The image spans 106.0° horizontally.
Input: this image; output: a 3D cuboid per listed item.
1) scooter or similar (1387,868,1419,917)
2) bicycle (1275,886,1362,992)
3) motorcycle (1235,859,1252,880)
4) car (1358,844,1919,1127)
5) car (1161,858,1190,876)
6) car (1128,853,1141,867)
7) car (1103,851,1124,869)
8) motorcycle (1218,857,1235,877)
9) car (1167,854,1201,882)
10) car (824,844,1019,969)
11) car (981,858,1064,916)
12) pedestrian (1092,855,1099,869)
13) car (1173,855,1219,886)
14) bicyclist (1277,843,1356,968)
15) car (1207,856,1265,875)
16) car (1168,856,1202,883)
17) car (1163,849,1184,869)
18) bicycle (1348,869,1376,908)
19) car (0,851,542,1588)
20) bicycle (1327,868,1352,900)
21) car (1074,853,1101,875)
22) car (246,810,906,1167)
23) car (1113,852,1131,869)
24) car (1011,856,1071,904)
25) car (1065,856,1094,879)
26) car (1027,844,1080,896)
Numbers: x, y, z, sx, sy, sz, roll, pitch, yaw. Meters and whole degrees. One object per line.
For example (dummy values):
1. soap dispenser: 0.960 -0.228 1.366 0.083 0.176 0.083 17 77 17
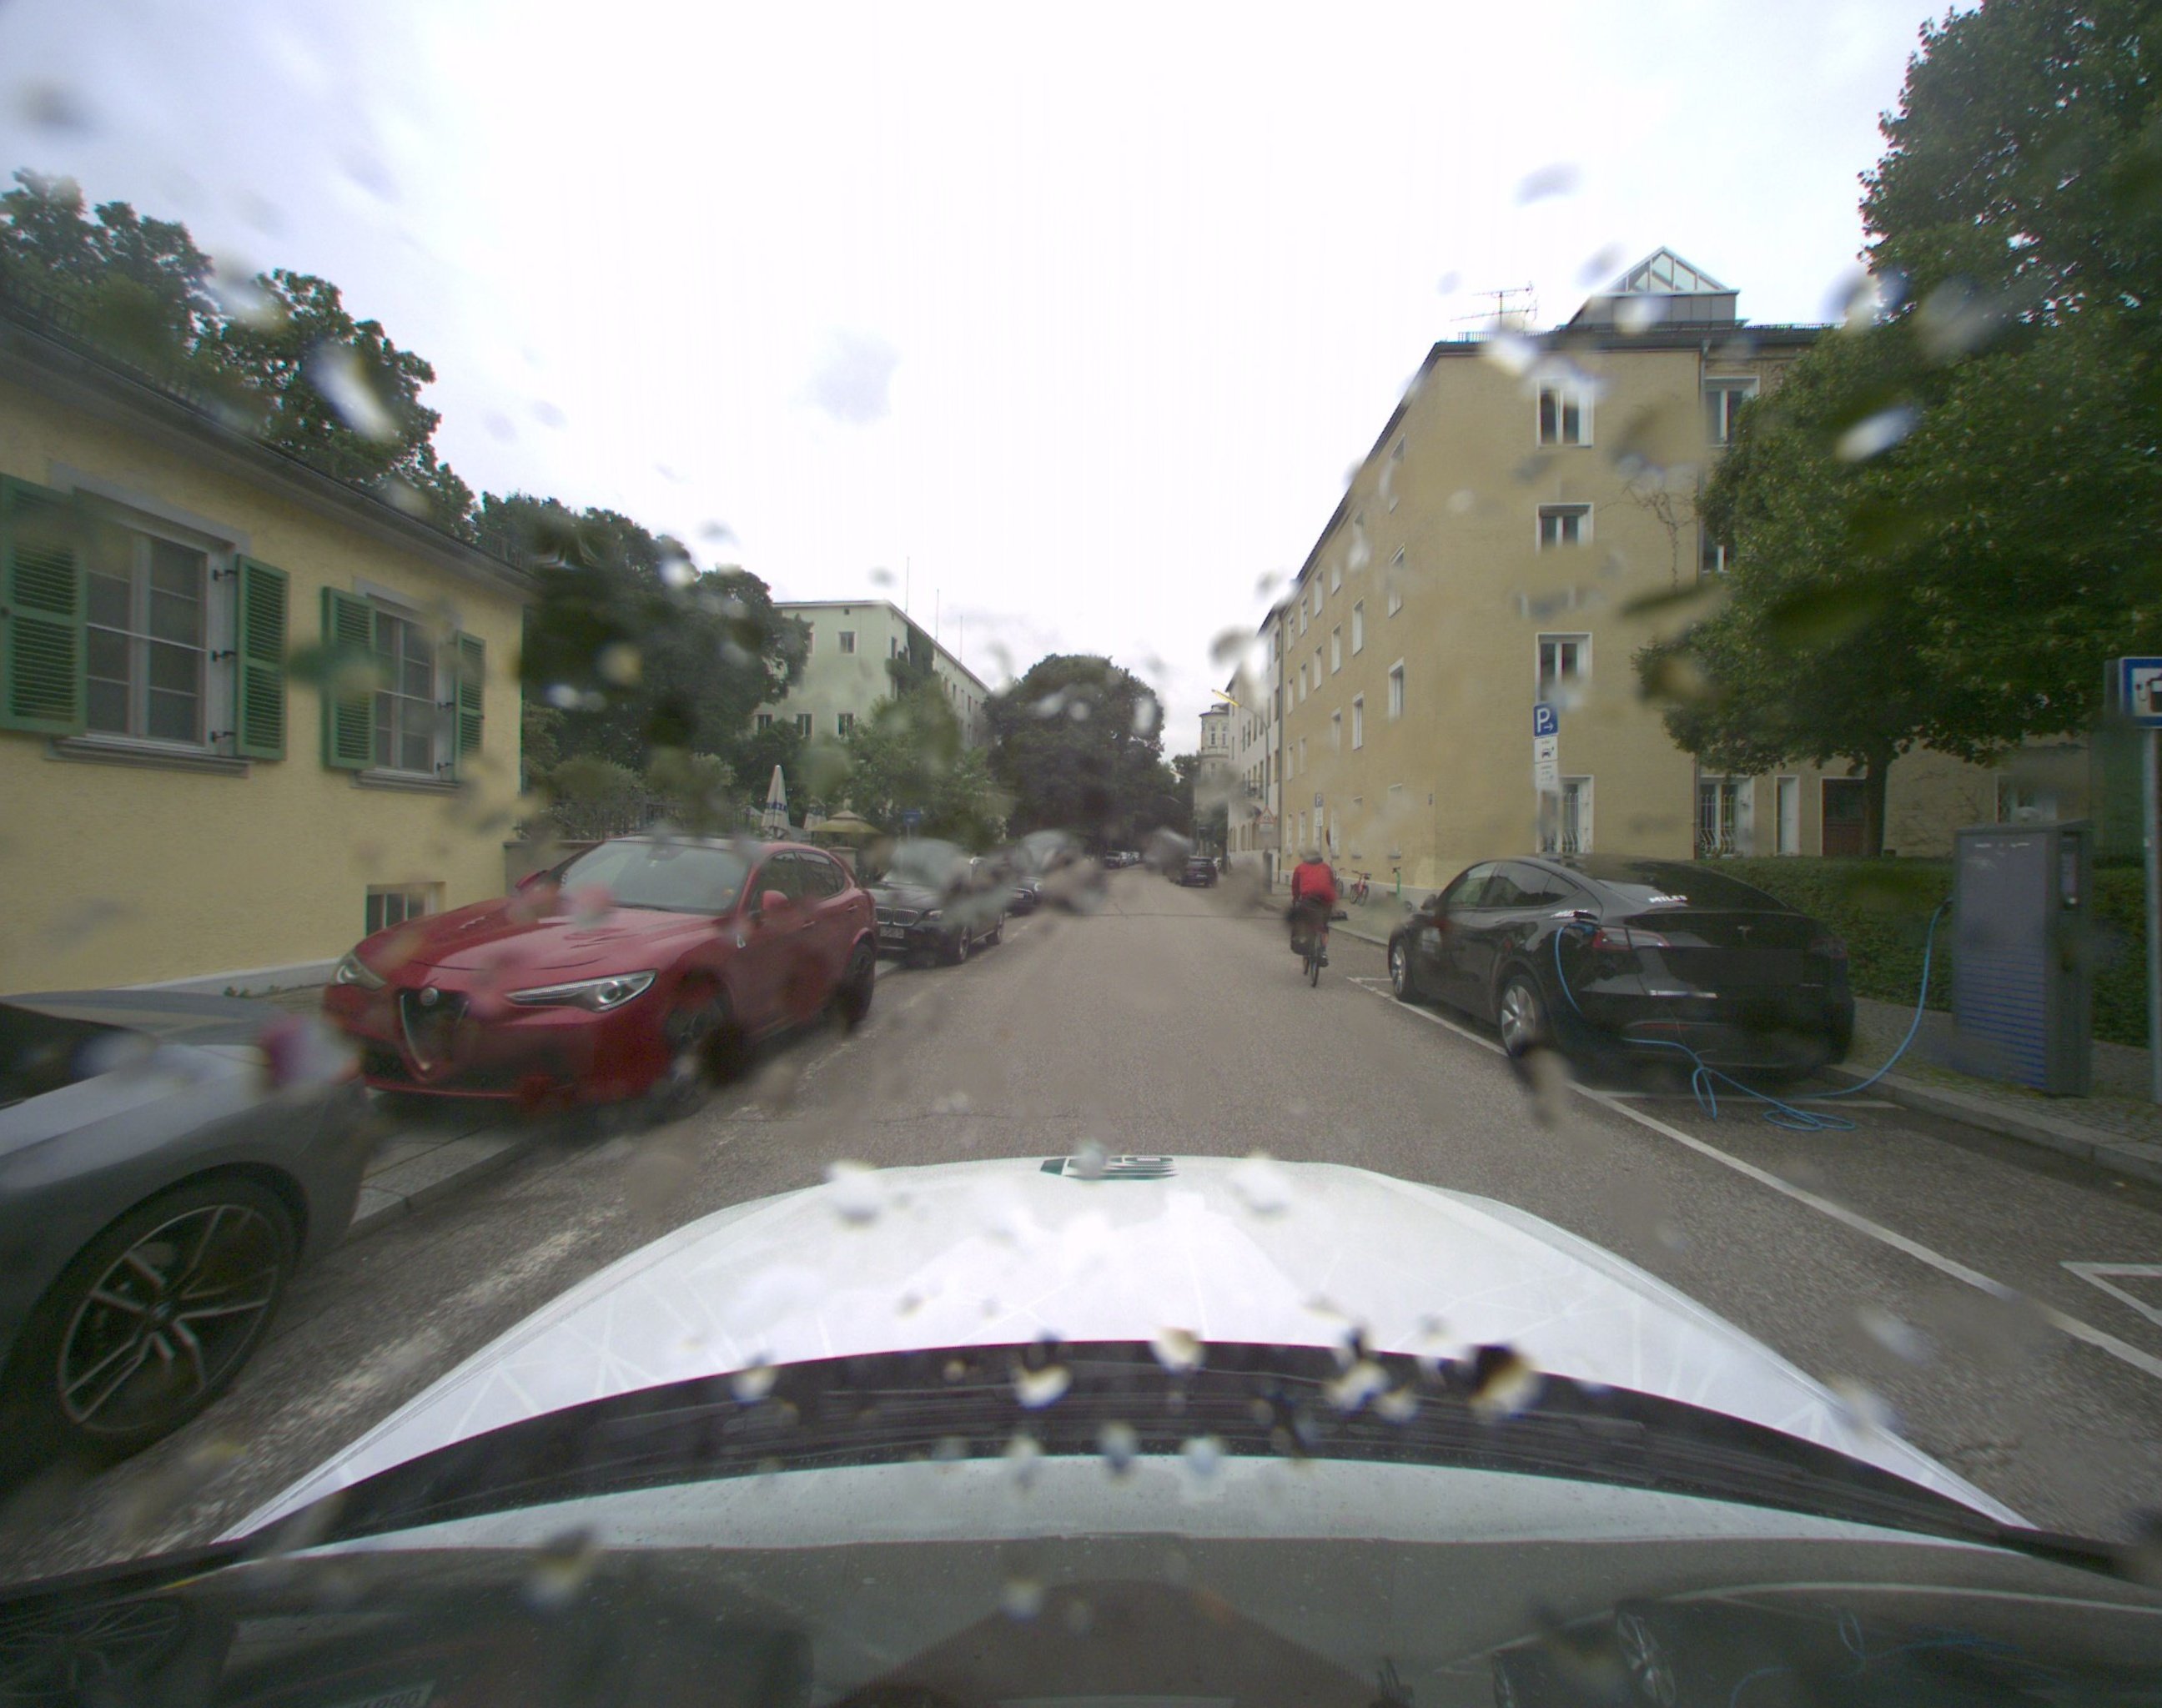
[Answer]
1. scooter or similar: 8.512 0.995 21.560 0.340 1.255 1.310 -1 -1 3
2. bicycle: 2.984 1.020 10.435 0.669 1.141 2.014 2 0 5
3. motorcycle: 10.306 0.980 51.578 0.729 1.239 2.009 2 0 3
4. car: 4.237 0.799 7.501 1.984 1.631 5.106 2 0 5
5. car: 7.433 0.995 64.310 1.991 1.319 4.599 -2 0 4
6. car: 9.080 1.011 138.299 1.992 2.186 4.703 2 0 5
7. car: 3.817 0.720 93.798 2.238 1.956 5.458 2 0 3
8. motorcycle: 10.790 0.915 60.365 0.853 1.433 2.708 1 0 2
9. car: 6.874 0.887 54.818 1.985 1.707 4.539 3 0 4
10. car: -2.335 0.717 13.339 1.837 1.607 4.749 2 0 5
11. car: -1.636 0.896 24.200 1.850 1.544 4.192 -1 0 4
12. pedestrian: 1.587 0.856 89.614 0.711 1.548 0.752 2 0 0
13. car: 6.165 0.867 44.090 1.853 1.577 4.900 0 0 1
14. bicyclist: 2.967 0.631 10.343 0.751 1.483 0.983 2 -1 5
15. car: 13.824 1.006 72.635 4.885 1.531 1.915 0 2 3
16. car: 6.279 0.922 49.534 1.830 1.531 4.421 0 0 5
17. car: 10.560 0.629 93.294 2.193 2.208 4.861 -1 -1 4
18. bicycle: 8.729 1.064 25.340 0.340 1.135 1.760 0 0 3
19. car: -3.236 0.776 1.049 1.890 1.519 4.655 2 0 0
20. bicycle: 9.252 1.062 29.184 0.340 1.082 1.815 -2 -1 3
21. car: 0.547 0.782 65.757 1.879 1.590 4.532 2 0 4
22. car: -3.046 0.665 6.444 1.893 1.691 4.813 2 0 4
23. car: 5.301 0.828 105.449 2.174 1.956 5.171 2 0 3
24. car: -1.368 0.879 29.287 1.881 1.544 4.695 1 0 0
25. car: -0.067 0.893 56.030 1.801 1.402 4.925 2 0 1
26. car: -1.101 0.653 35.261 1.959 1.990 5.152 2 0 1
